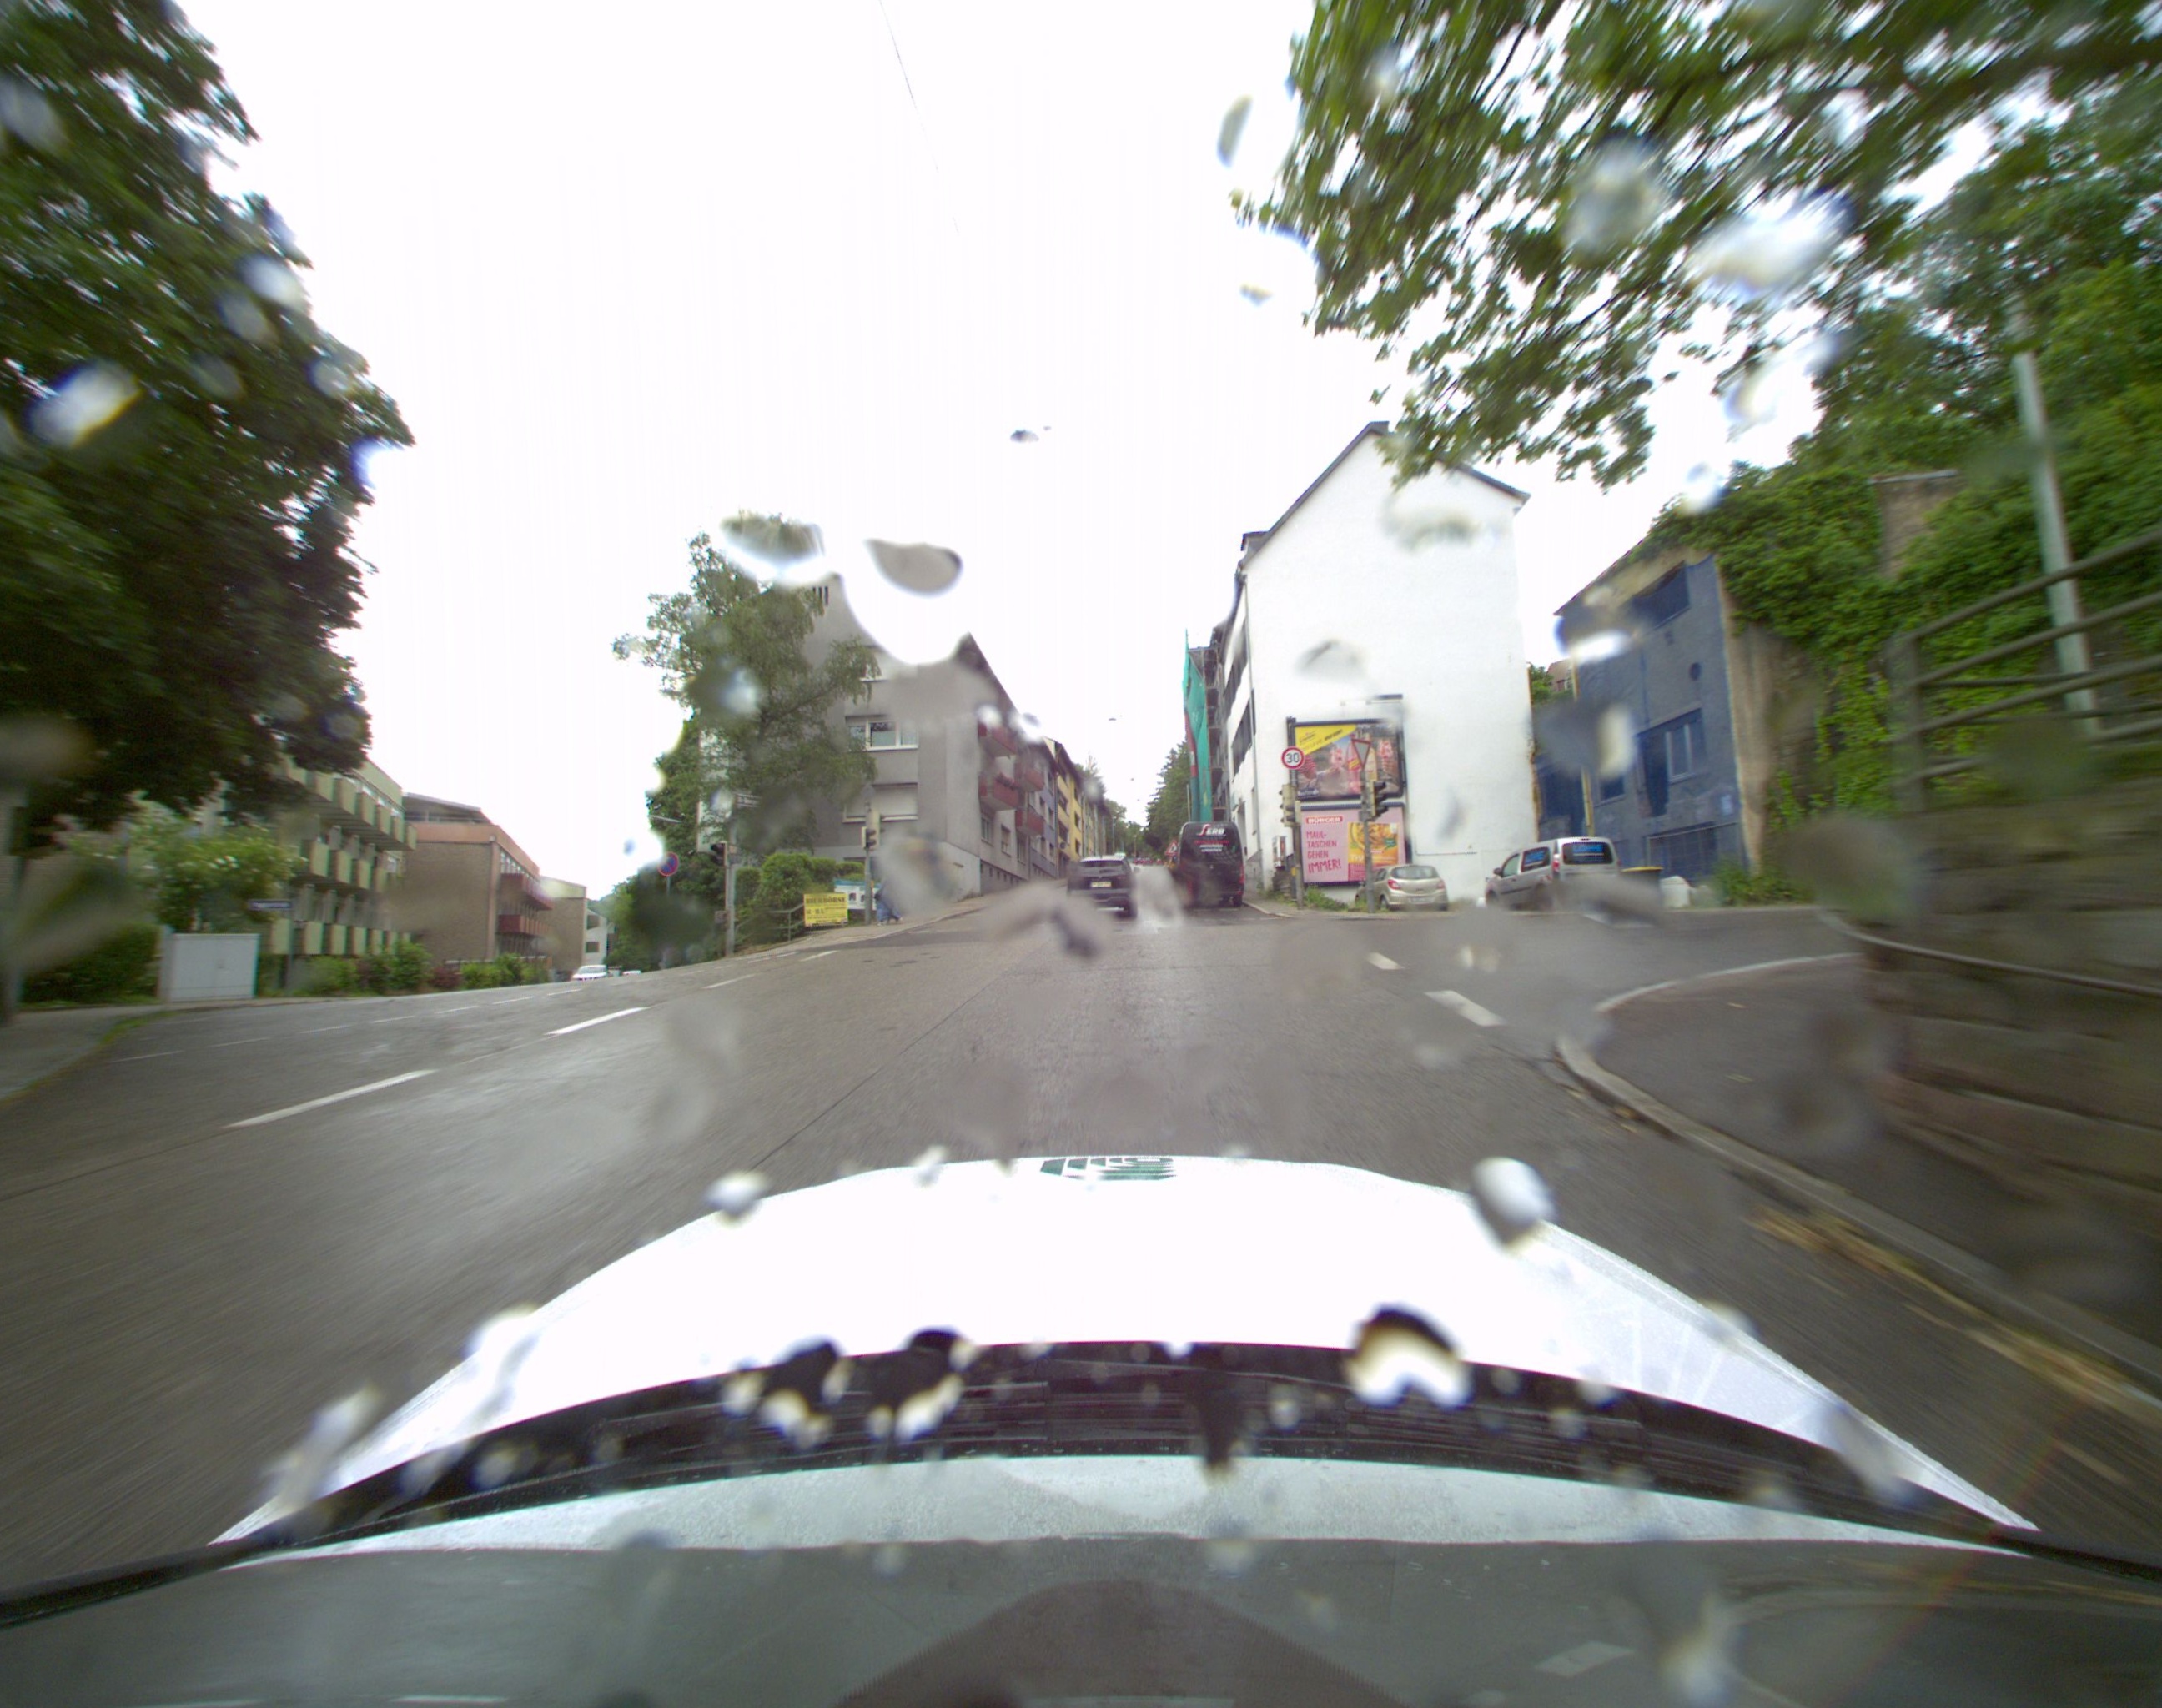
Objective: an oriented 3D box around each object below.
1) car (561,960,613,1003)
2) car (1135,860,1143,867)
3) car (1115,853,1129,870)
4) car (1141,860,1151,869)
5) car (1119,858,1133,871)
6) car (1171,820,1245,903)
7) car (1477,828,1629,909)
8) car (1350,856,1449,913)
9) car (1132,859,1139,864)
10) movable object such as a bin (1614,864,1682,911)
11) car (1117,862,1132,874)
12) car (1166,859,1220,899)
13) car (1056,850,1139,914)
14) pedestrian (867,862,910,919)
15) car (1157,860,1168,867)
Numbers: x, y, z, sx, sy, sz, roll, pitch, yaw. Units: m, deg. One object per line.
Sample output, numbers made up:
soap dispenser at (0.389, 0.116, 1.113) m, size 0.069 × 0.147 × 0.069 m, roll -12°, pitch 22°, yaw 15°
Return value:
car at (-27.929, 7.166, 46.193) m, size 2.206 × 1.650 × 4.401 m, roll -2°, pitch 0°, yaw -28°
car at (13.874, 2.346, 194.734) m, size 2.065 × 1.559 × 4.004 m, roll -1°, pitch 0°, yaw 4°
car at (6.604, 1.169, 130.546) m, size 1.981 × 2.475 × 5.790 m, roll -2°, pitch 0°, yaw 4°
car at (12.915, 2.066, 161.901) m, size 2.065 × 1.559 × 4.004 m, roll -1°, pitch 0°, yaw 3°
car at (6.673, 1.582, 121.044) m, size 1.981 × 1.755 × 4.485 m, roll -2°, pitch 0°, yaw 4°
car at (4.053, 0.335, 26.790) m, size 1.984 × 2.414 × 5.843 m, roll -1°, pitch -2°, yaw 5°
car at (12.174, 0.430, 21.347) m, size 1.721 × 1.913 × 4.245 m, roll -1°, pitch -3°, yaw 4°
car at (9.126, 0.819, 23.631) m, size 1.555 × 1.484 × 4.005 m, roll -1°, pitch 0°, yaw 4°
car at (16.685, 2.300, 248.704) m, size 2.065 × 1.559 × 4.004 m, roll -1°, pitch 0°, yaw 4°
movable object such as a bin at (14.130, 0.842, 20.347) m, size 0.936 × 1.141 × 1.124 m, roll -1°, pitch -3°, yaw 5°
car at (6.027, 1.922, 113.273) m, size 1.981 × 1.585 × 4.309 m, roll -2°, pitch 0°, yaw 4°
car at (4.495, 1.003, 33.231) m, size 1.984 × 1.512 × 4.343 m, roll -1°, pitch -1°, yaw 5°
car at (0.546, 0.692, 22.294) m, size 1.984 × 1.559 × 4.006 m, roll -1°, pitch 0°, yaw 5°
pedestrian at (-5.290, 1.006, 22.437) m, size 0.866 × 1.541 × 1.088 m, roll 0°, pitch -3°, yaw 2°
car at (17.352, 2.044, 173.323) m, size 2.067 × 1.559 × 4.002 m, roll -1°, pitch 0°, yaw 2°
